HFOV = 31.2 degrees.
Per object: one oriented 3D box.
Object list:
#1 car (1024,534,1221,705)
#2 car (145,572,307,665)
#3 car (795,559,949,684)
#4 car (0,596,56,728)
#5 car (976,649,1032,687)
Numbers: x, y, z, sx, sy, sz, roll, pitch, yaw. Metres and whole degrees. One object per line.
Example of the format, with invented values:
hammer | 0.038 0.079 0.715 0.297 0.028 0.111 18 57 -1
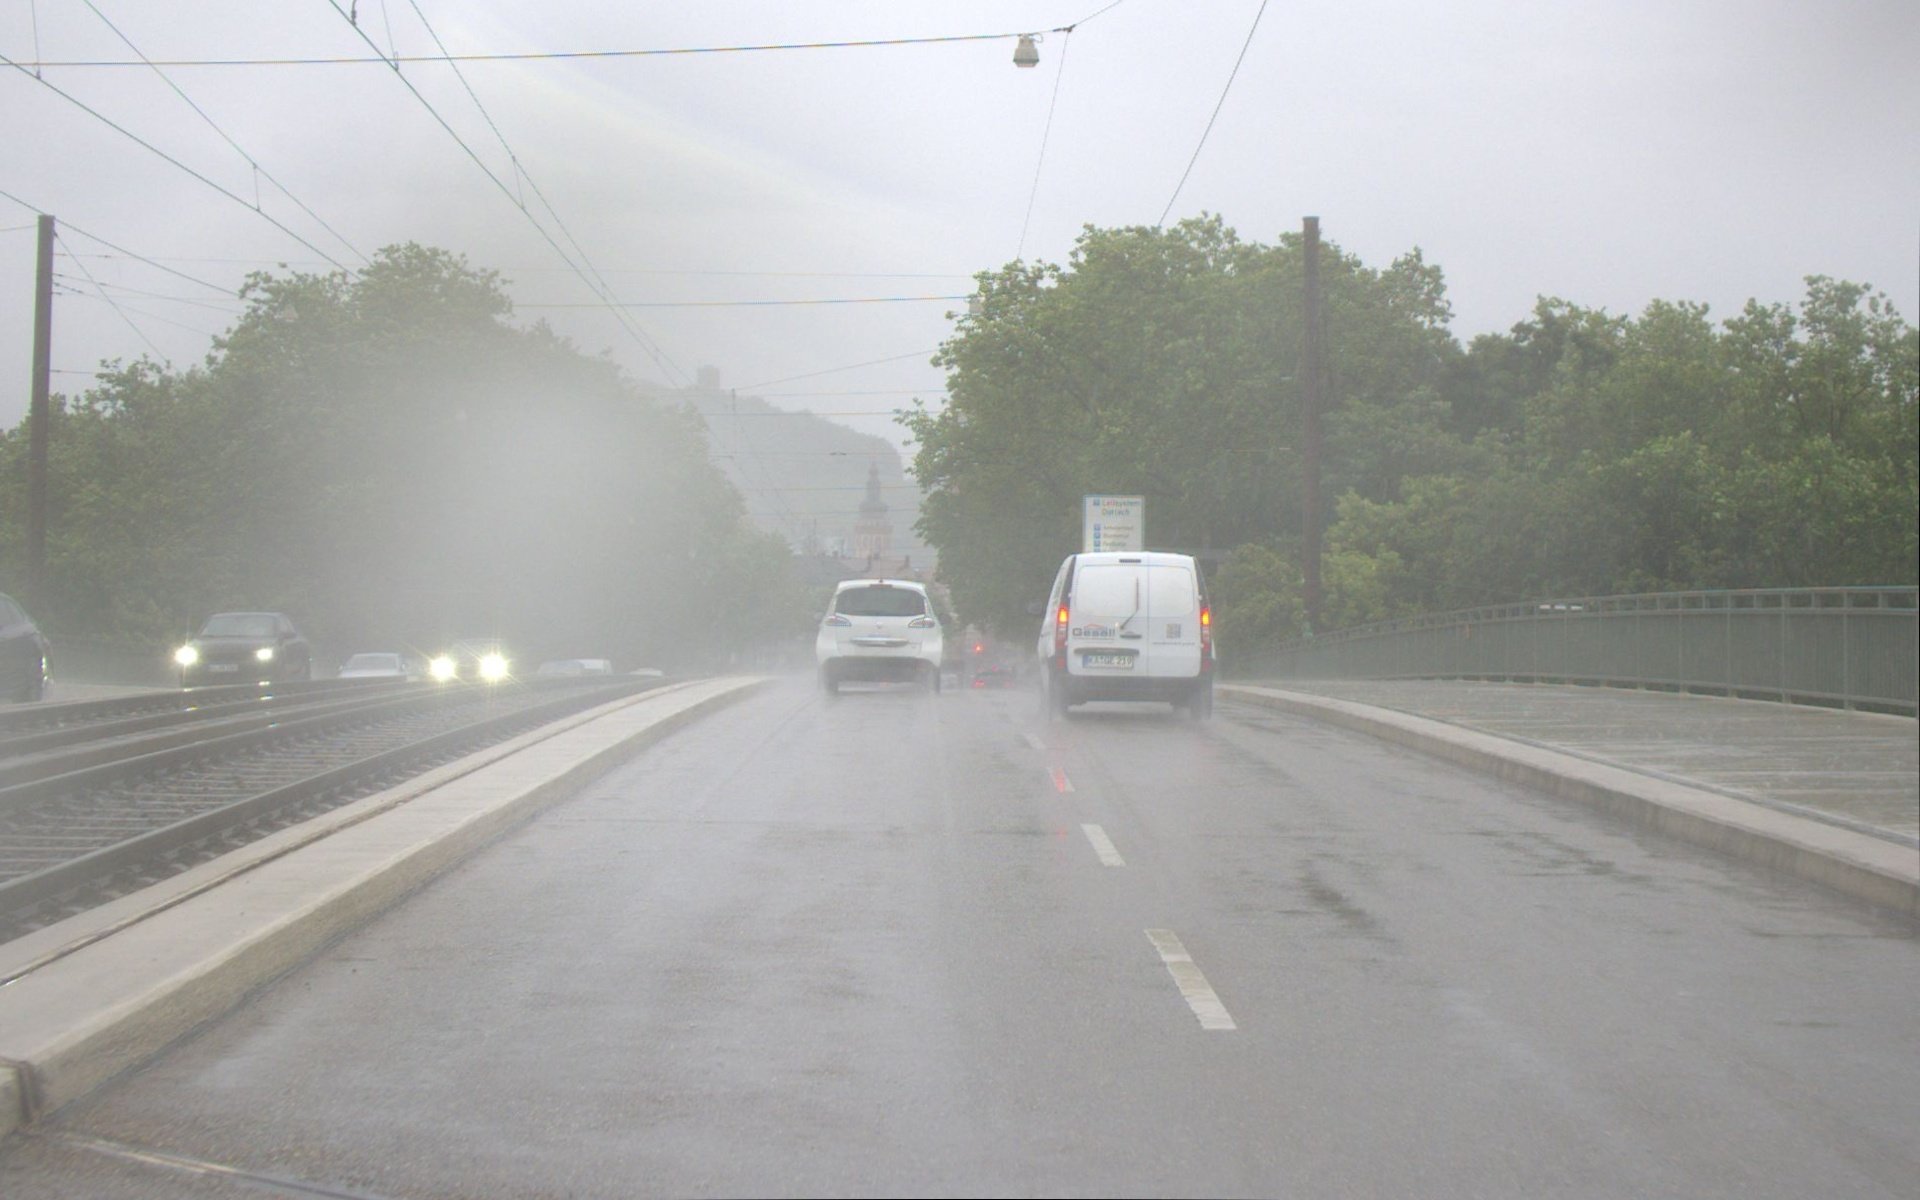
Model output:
car | 1.740 0.234 37.719 1.993 1.720 4.000 2 -1 2
car | -12.695 0.344 59.683 1.993 1.504 4.092 -2 -1 -1
car | -1.245 0.333 50.425 1.993 1.711 4.000 2 -1 2
car | -11.993 0.739 39.689 1.993 1.504 5.114 -2 -1 -3
car | 1.655 2.525 127.617 1.993 1.317 4.000 2 -1 2
